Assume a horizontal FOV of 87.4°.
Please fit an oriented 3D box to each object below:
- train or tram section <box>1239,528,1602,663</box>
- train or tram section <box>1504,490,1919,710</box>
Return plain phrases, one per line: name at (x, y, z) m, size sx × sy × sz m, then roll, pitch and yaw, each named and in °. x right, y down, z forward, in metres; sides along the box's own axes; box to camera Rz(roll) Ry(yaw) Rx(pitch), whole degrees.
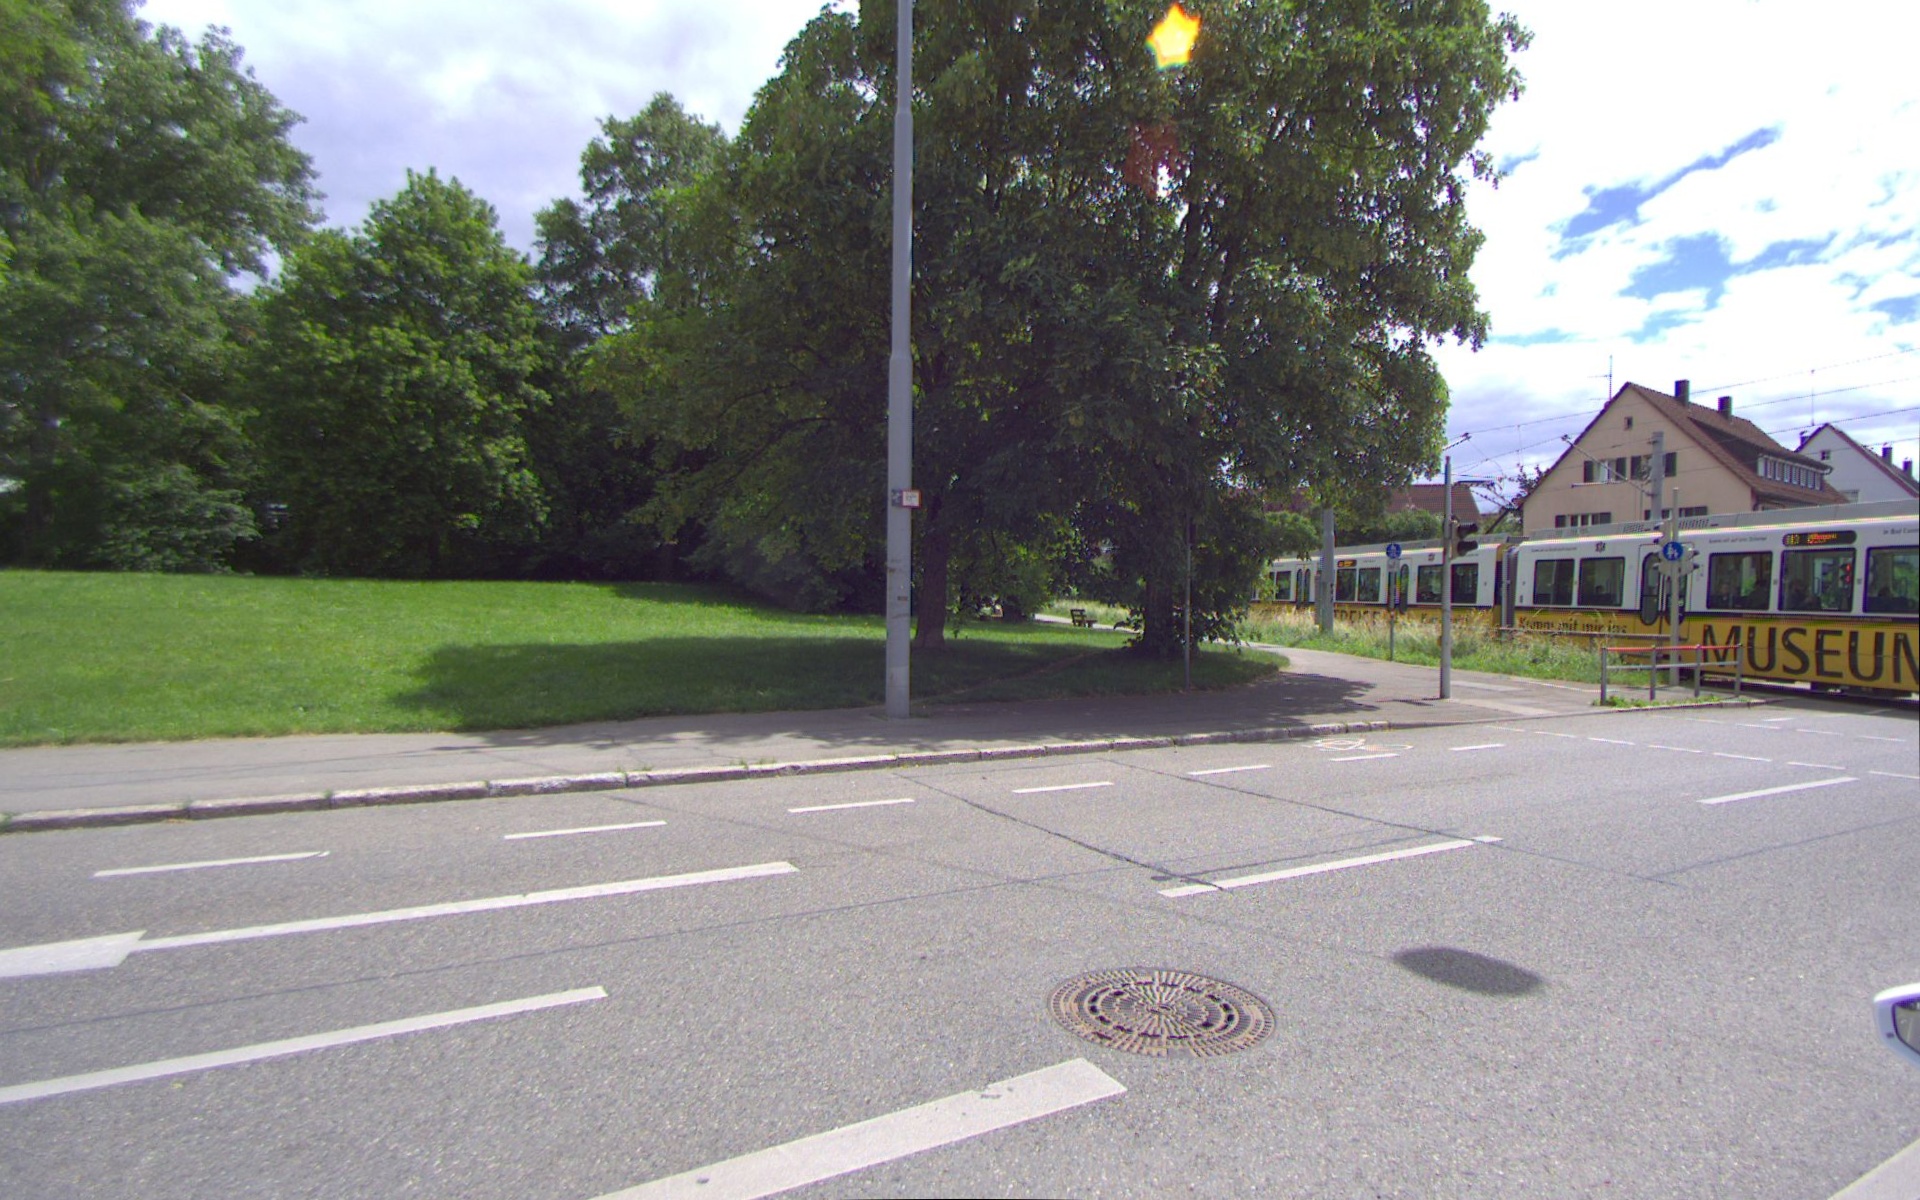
train or tram section at (15.519, -0.215, 37.550) m, size 2.864 × 3.754 × 19.098 m, roll 1°, pitch 1°, yaw -6°
train or tram section at (17.641, -0.002, 18.618) m, size 2.864 × 3.754 × 19.098 m, roll 1°, pitch 1°, yaw -6°
